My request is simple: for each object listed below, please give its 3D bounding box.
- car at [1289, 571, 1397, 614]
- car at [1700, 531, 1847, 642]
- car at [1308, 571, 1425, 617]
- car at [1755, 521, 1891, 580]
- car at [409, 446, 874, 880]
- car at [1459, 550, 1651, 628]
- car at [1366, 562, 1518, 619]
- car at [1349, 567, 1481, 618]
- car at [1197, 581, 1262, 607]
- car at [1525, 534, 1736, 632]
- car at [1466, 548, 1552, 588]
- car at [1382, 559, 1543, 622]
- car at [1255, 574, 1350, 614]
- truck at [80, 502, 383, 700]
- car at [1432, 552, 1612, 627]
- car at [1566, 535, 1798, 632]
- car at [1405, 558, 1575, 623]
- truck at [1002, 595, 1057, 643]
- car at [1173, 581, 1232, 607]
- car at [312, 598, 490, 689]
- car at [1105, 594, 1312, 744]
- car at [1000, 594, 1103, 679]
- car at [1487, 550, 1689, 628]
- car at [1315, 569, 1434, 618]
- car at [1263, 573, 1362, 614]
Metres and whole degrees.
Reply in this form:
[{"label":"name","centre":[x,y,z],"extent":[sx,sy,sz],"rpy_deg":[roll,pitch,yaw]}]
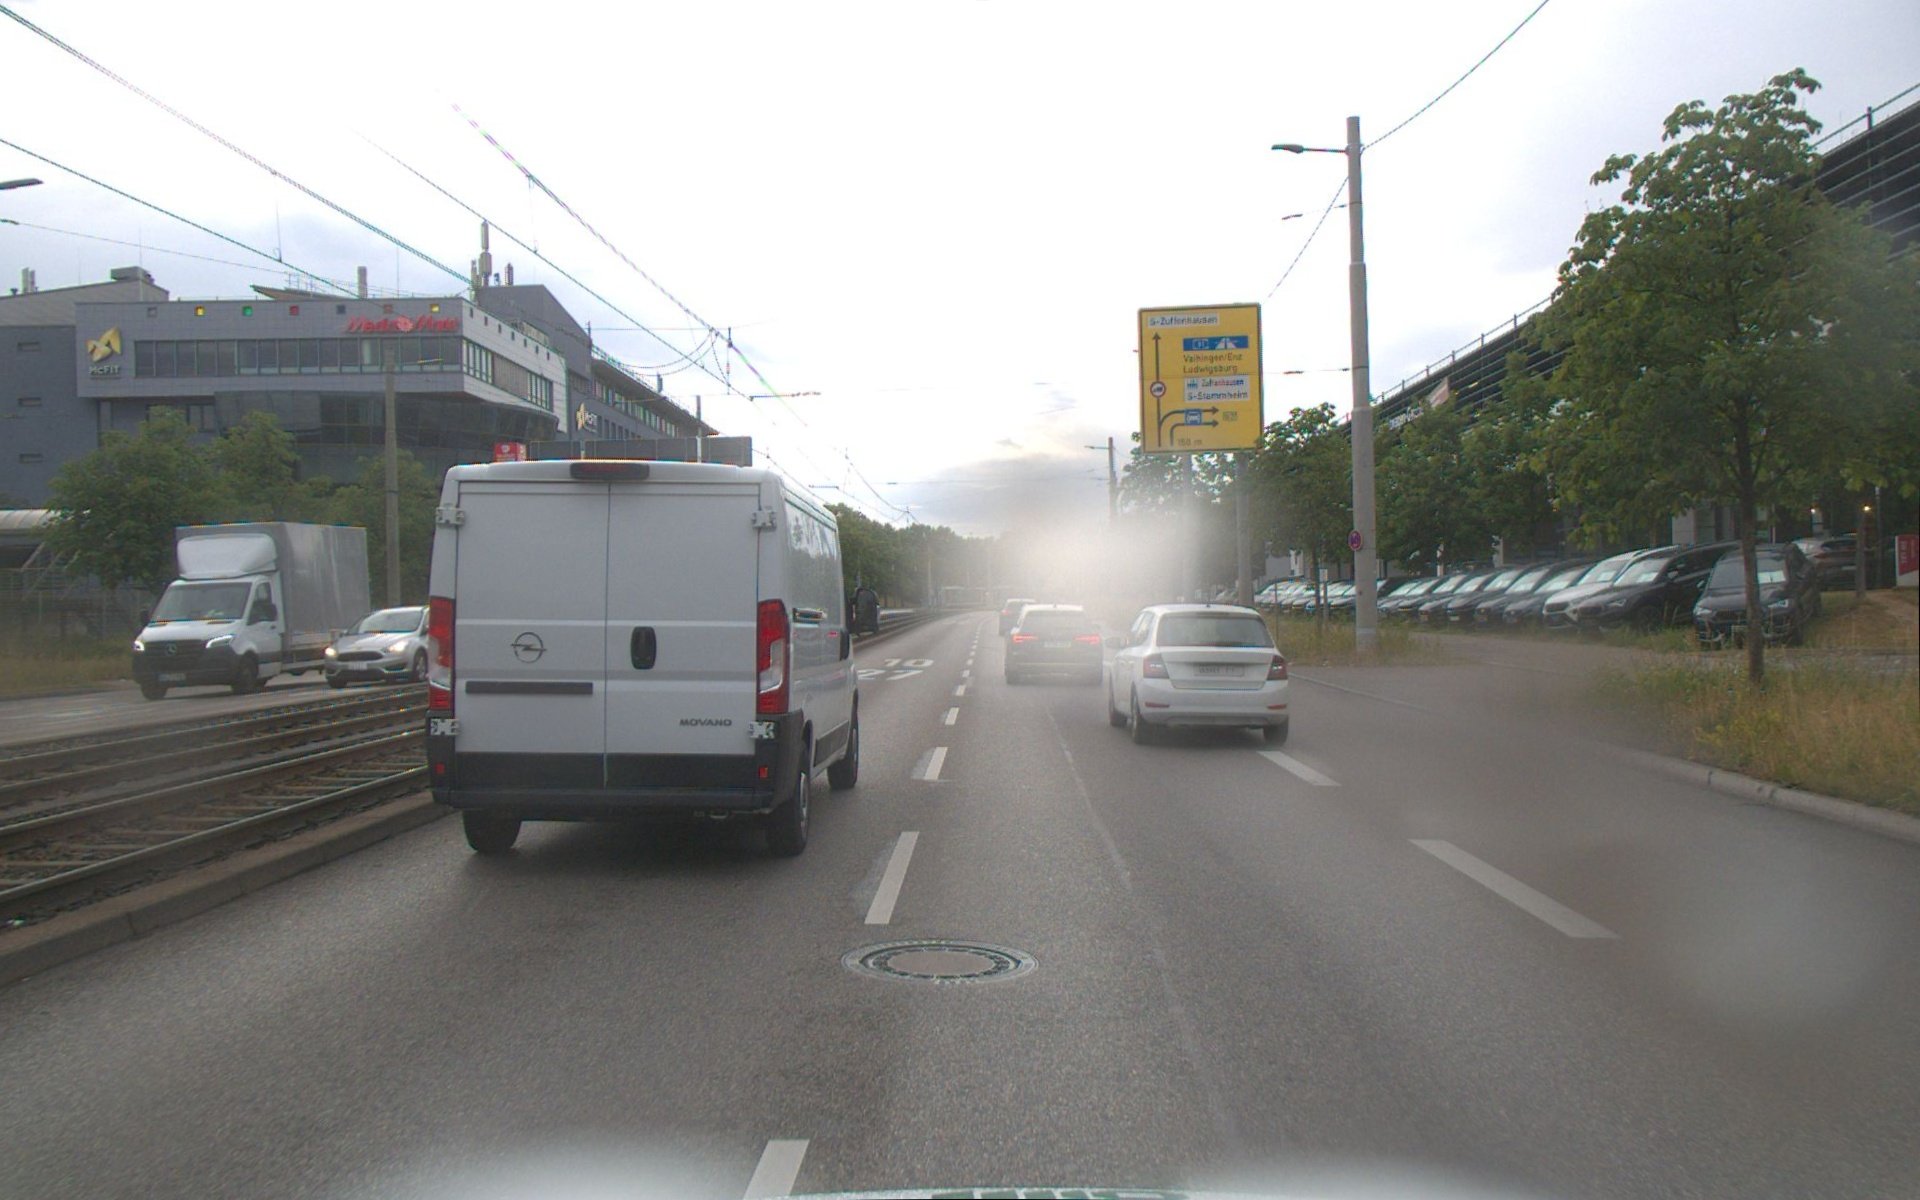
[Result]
[{"label":"car","centre":[16.238,-0.312,70.076],"extent":[4.076,1.554,1.821],"rpy_deg":[-3,0,-19]},{"label":"car","centre":[15.770,-0.311,31.951],"extent":[1.840,1.847,4.377],"rpy_deg":[-3,1,35]},{"label":"car","centre":[15.845,-0.226,64.514],"extent":[4.076,1.560,1.784],"rpy_deg":[-3,0,-19]},{"label":"car","centre":[24.075,-1.353,46.291],"extent":[1.743,1.498,3.899],"rpy_deg":[-2,0,0]},{"label":"car","centre":[-1.811,0.332,11.248],"extent":[2.047,2.235,5.061],"rpy_deg":[1,0,1]},{"label":"car","centre":[15.703,-0.295,43.731],"extent":[4.405,1.782,1.816],"rpy_deg":[-3,0,-11]},{"label":"car","centre":[15.812,-0.317,54.331],"extent":[4.405,1.596,1.817],"rpy_deg":[-3,0,-11]},{"label":"car","centre":[15.646,-0.251,56.940],"extent":[3.971,1.528,1.683],"rpy_deg":[-3,0,-11]},{"label":"car","centre":[17.592,-0.403,107.920],"extent":[4.047,1.491,1.729],"rpy_deg":[-3,-1,-32]},{"label":"car","centre":[15.662,-0.402,38.666],"extent":[4.419,2.026,1.811],"rpy_deg":[-3,0,-19]},{"label":"car","centre":[29.665,-1.711,89.468],"extent":[3.944,2.010,1.945],"rpy_deg":[-2,0,0]},{"label":"car","centre":[15.631,-0.295,51.553],"extent":[4.405,1.692,1.817],"rpy_deg":[-3,0,-11]},{"label":"car","centre":[16.265,-0.294,78.469],"extent":[4.085,1.632,1.813],"rpy_deg":[-3,0,-24]},{"label":"truck","centre":[-14.433,-0.009,33.492],"extent":[2.671,3.416,7.153],"rpy_deg":[-3,0,1]},{"label":"car","centre":[15.754,-0.299,46.405],"extent":[4.405,1.827,1.816],"rpy_deg":[-3,0,-11]},{"label":"car","centre":[15.626,-0.354,35.861],"extent":[4.301,1.821,1.873],"rpy_deg":[-3,0,-13]},{"label":"car","centre":[15.674,-0.292,49.052],"extent":[4.402,1.647,1.818],"rpy_deg":[-3,0,-8]},{"label":"truck","centre":[2.774,0.727,67.165],"extent":[1.953,1.822,4.413],"rpy_deg":[-2,0,-1]},{"label":"car","centre":[17.204,-0.418,117.289],"extent":[4.054,1.596,1.777],"rpy_deg":[-3,-1,-36]},{"label":"car","centre":[-11.049,0.800,33.030],"extent":[1.768,1.525,4.443],"rpy_deg":[-4,0,3]},{"label":"car","centre":[2.687,0.693,18.616],"extent":[1.711,1.483,3.670],"rpy_deg":[1,0,-1]},{"label":"car","centre":[1.654,0.642,31.039],"extent":[1.752,1.474,4.000],"rpy_deg":[0,0,0]},{"label":"car","centre":[15.591,-0.272,41.133],"extent":[4.409,1.666,1.815],"rpy_deg":[-3,0,-13]},{"label":"car","centre":[15.471,-0.230,61.792],"extent":[3.983,1.603,1.723],"rpy_deg":[-3,0,-19]},{"label":"car","centre":[16.104,-0.300,75.619],"extent":[4.085,1.597,1.813],"rpy_deg":[-3,0,-24]}]
